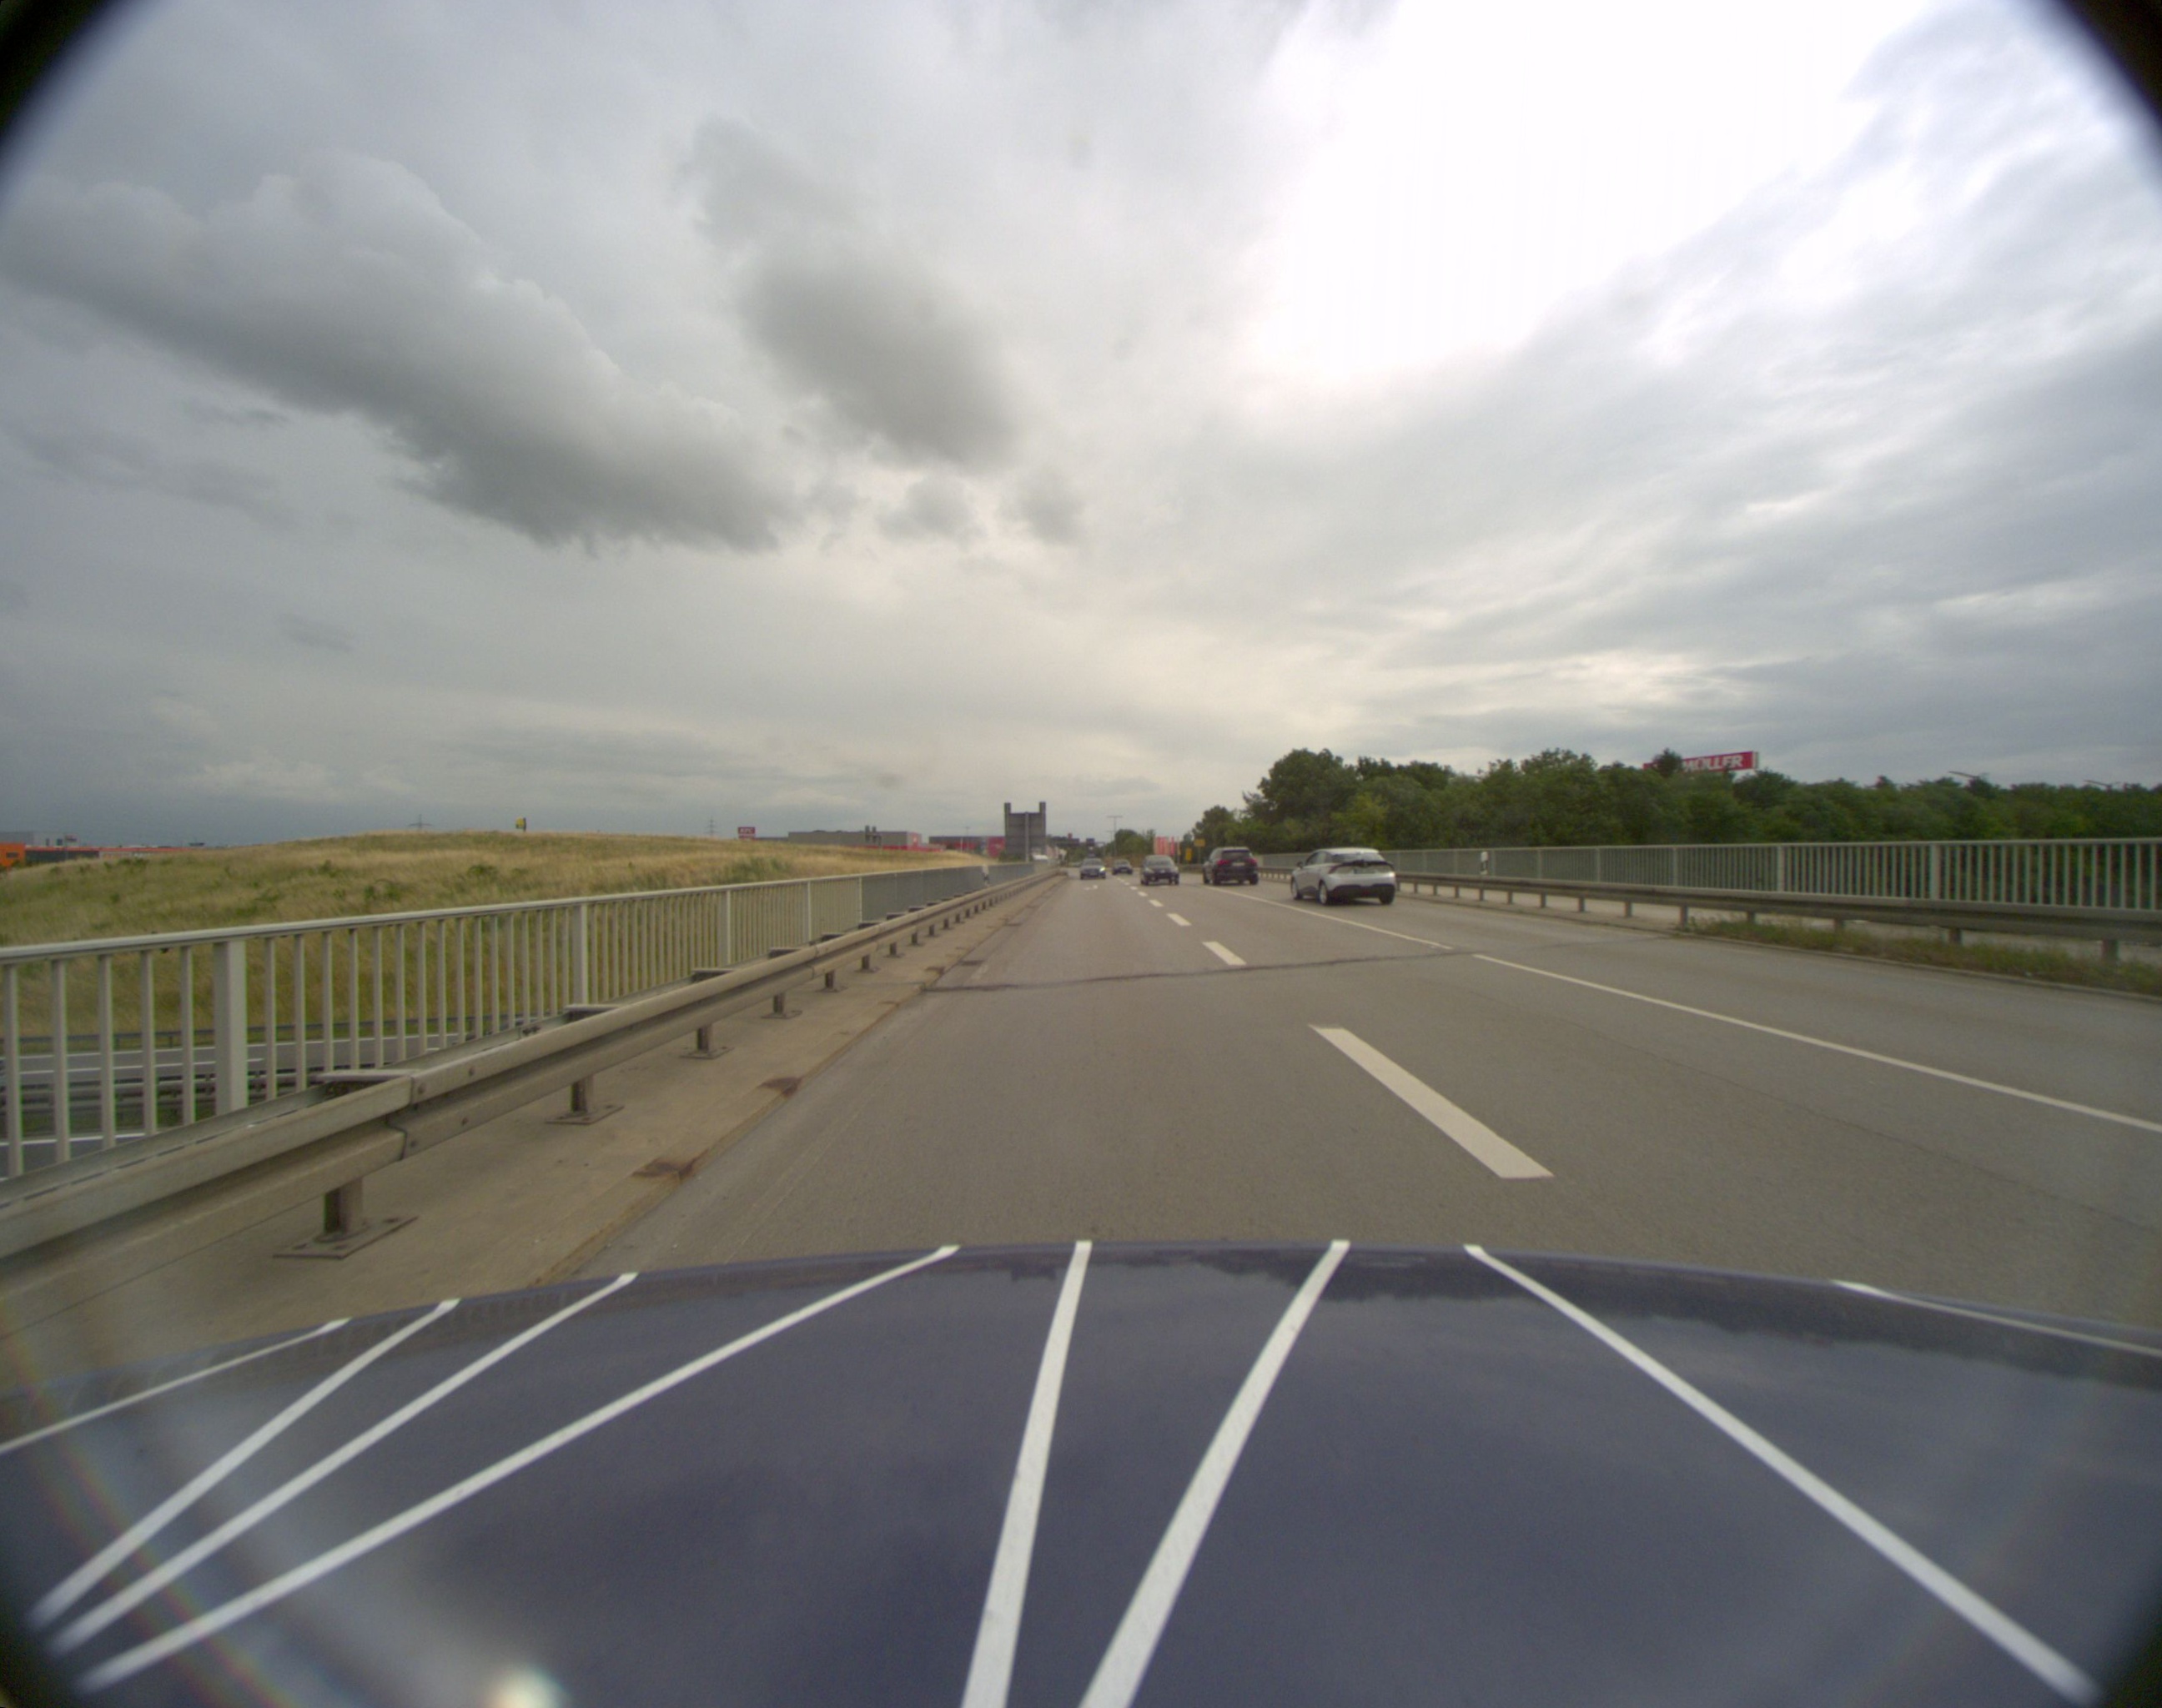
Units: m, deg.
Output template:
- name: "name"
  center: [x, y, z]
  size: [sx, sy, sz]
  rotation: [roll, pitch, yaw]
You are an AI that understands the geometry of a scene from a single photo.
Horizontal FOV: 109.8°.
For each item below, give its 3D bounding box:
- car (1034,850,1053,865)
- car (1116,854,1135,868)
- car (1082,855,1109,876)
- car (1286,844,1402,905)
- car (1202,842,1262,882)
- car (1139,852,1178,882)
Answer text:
- name: "car"
  center: [-5.421, 0.553, 108.780]
  size: [2.000, 2.001, 4.840]
  rotation: [-2, -2, -10]
- name: "car"
  center: [4.148, 0.654, 71.078]
  size: [1.579, 1.261, 3.314]
  rotation: [-1, 0, 0]
- name: "car"
  center: [1.051, 0.853, 53.492]
  size: [1.764, 1.411, 4.093]
  rotation: [-1, -2, 2]
- name: "car"
  center: [7.136, 0.485, 21.107]
  size: [1.716, 1.478, 4.279]
  rotation: [-2, 1, 0]
- name: "car"
  center: [7.007, 0.318, 35.749]
  size: [1.998, 1.722, 4.762]
  rotation: [-2, 1, 2]
- name: "car"
  center: [3.875, 0.620, 38.420]
  size: [1.580, 1.346, 3.823]
  rotation: [-2, 0, 1]
